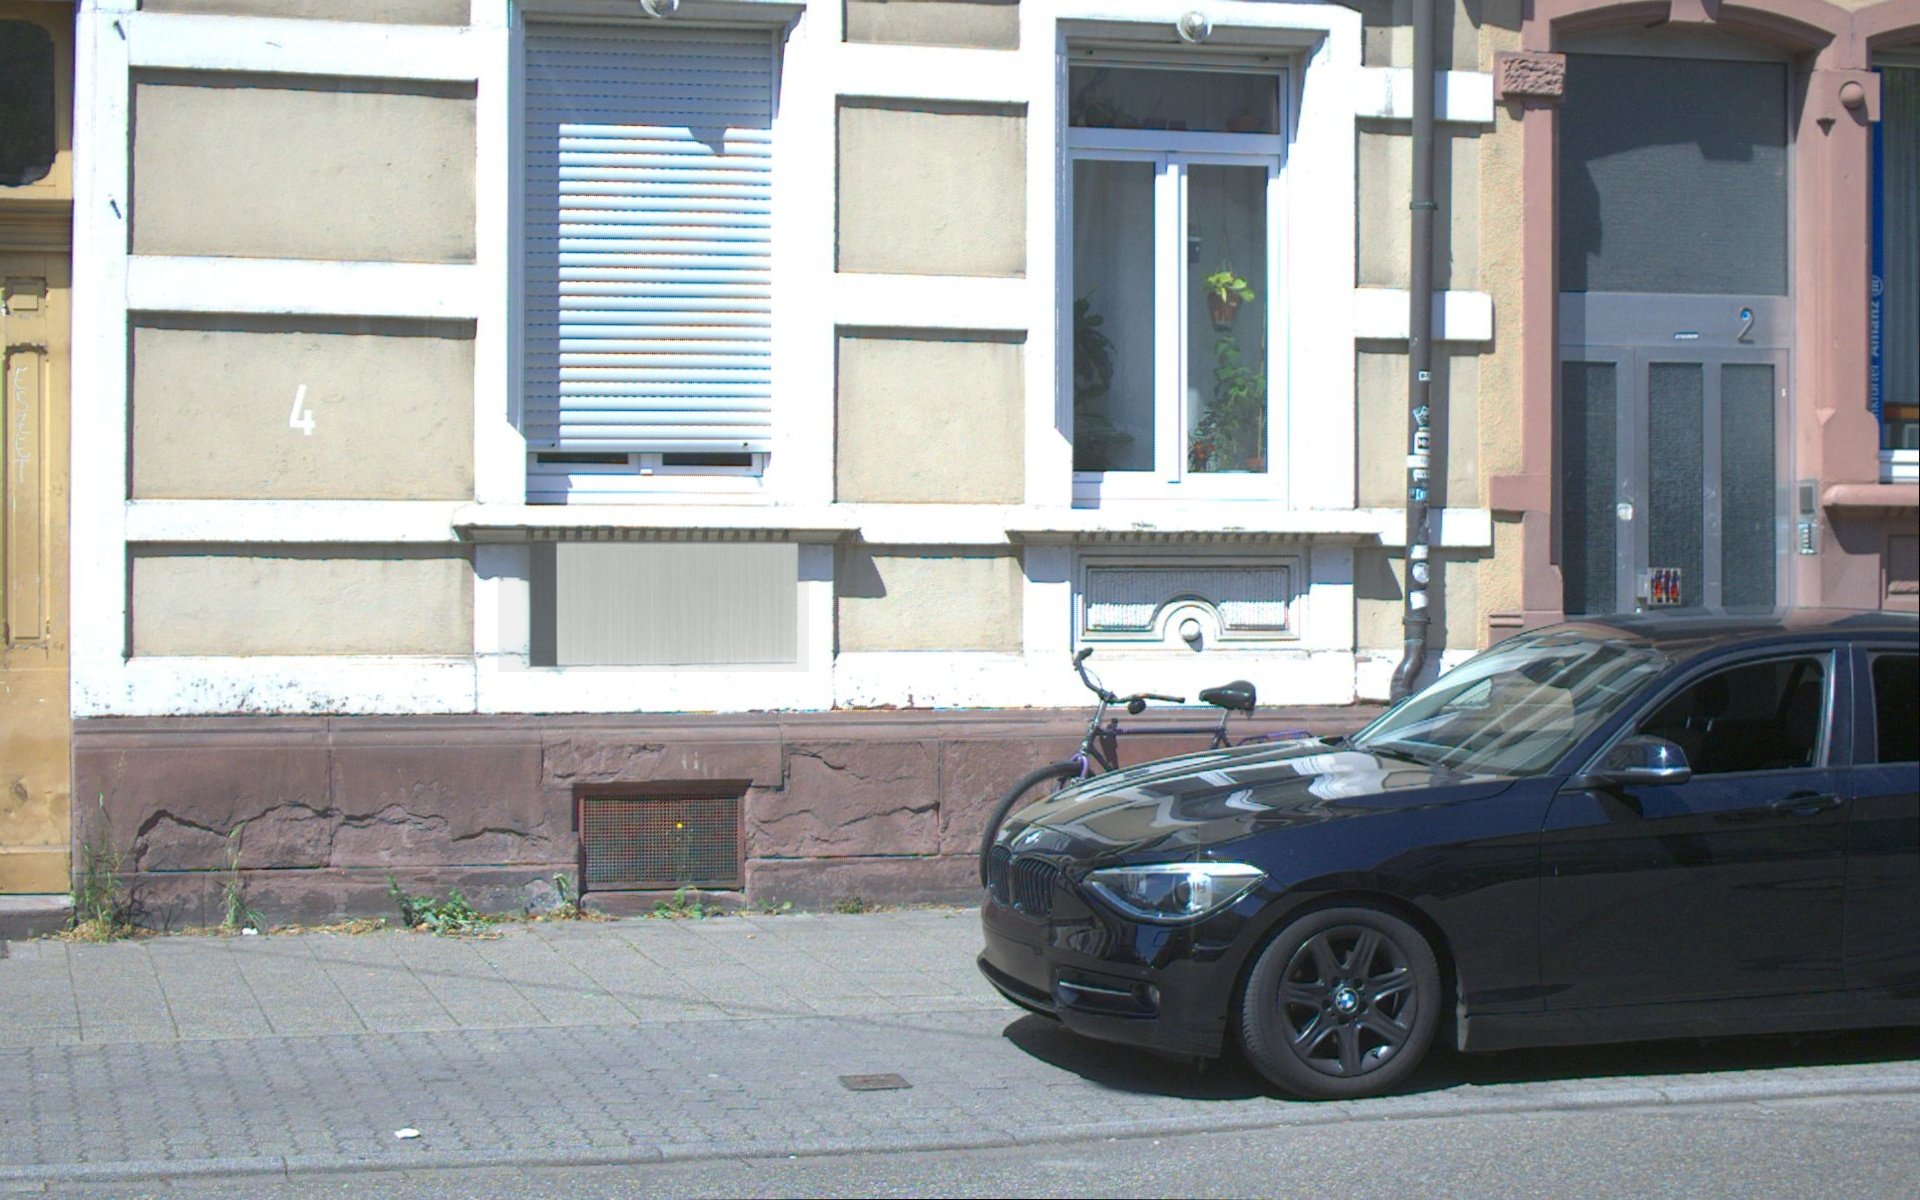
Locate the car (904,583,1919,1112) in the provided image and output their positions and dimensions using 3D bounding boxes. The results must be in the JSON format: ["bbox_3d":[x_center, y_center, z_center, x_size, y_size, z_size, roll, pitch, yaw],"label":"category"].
[{"bbox_3d":[2.126,0.690,11.134,4.293,1.365,1.808,-1,3,-16],"label":"car"}]

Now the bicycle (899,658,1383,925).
[{"bbox_3d":[0.767,0.785,14.439,2.004,1.018,0.424,-1,3,-18],"label":"bicycle"}]
